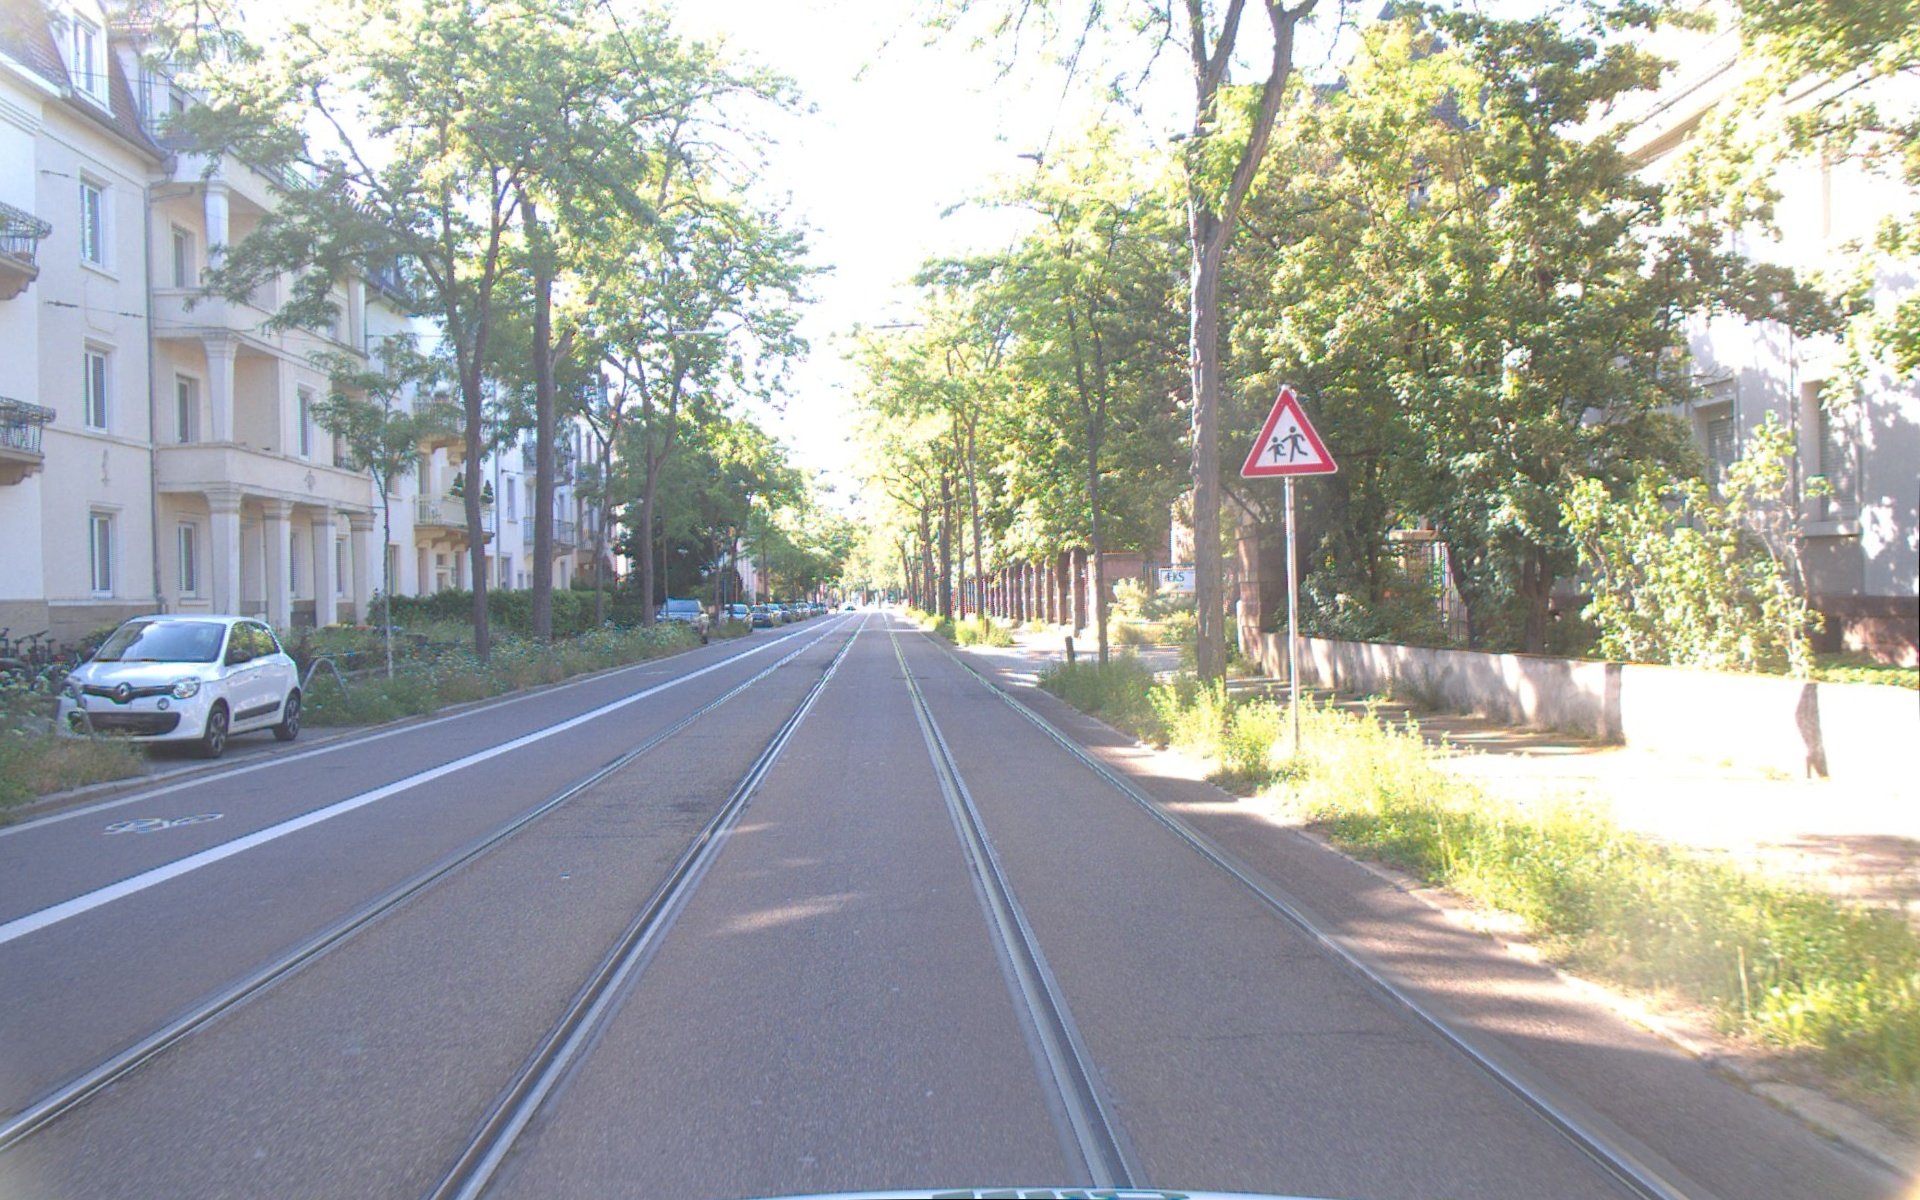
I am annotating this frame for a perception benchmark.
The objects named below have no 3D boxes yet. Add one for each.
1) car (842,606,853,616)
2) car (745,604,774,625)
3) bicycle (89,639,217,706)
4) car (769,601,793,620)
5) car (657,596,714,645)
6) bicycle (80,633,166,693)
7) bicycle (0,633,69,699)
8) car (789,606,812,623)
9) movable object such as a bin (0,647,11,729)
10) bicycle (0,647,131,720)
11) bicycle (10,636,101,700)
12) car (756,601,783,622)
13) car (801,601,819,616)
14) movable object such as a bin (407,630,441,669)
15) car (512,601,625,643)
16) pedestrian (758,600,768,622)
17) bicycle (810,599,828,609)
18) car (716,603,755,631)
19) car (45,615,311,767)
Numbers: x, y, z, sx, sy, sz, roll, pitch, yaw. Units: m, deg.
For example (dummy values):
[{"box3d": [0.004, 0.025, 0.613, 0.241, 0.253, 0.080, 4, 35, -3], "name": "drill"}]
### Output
[{"box3d": [-17.375, 1.740, 255.489, 1.723, 1.464, 4.520, -1, 0, -4], "name": "car"}, {"box3d": [-13.542, 0.971, 111.836, 1.672, 1.431, 4.330, 0, 0, -4], "name": "car"}, {"box3d": [-13.491, 1.201, 27.698, 0.548, 1.014, 1.850, -1, 0, 43], "name": "bicycle"}, {"box3d": [-14.466, 0.819, 133.759, 1.723, 1.537, 4.435, 0, 0, -4], "name": "car"}, {"box3d": [-10.971, 0.788, 66.356, 1.834, 1.855, 4.767, 0, 0, -5], "name": "car"}, {"box3d": [-15.446, 1.150, 30.513, 1.822, 1.014, 0.557, 1, 1, 32], "name": "bicycle"}, {"box3d": [-15.690, 1.100, 27.832, 1.827, 1.014, 0.556, 1, 1, 39], "name": "bicycle"}, {"box3d": [-14.138, 1.274, 146.824, 1.781, 1.511, 4.204, 0, 0, -3], "name": "car"}, {"box3d": [-12.846, 1.162, 21.315, 0.723, 1.059, 0.895, -2, 0, -3], "name": "movable object such as a bin"}, {"box3d": [-13.806, 1.266, 25.433, 1.838, 1.014, 0.552, -1, 0, -32], "name": "bicycle"}, {"box3d": [-15.742, 1.166, 28.777, 1.822, 1.014, 0.557, 1, 1, 32], "name": "bicycle"}, {"box3d": [-14.233, 0.875, 123.570, 1.781, 1.537, 4.367, 0, 0, -4], "name": "car"}, {"box3d": [-15.699, 0.919, 172.912, 1.668, 1.511, 4.076, 1, 0, -3], "name": "car"}, {"box3d": [-13.182, 1.222, 40.704, 0.615, 0.937, 0.739, 0, 0, -3], "name": "movable object such as a bin"}, {"box3d": [-16.164, 0.900, 68.402, 4.213, 1.690, 1.952, 0, 0, -2], "name": "car"}, {"box3d": [-16.345, 0.889, 137.351, 0.678, 1.833, 0.813, -2, 0, -3], "name": "pedestrian"}, {"box3d": [-17.919, 0.549, 209.989, 2.236, 1.219, 0.560, 1, 0, 4], "name": "bicycle"}, {"box3d": [-12.593, 0.933, 92.939, 1.741, 1.568, 4.483, 0, 0, -3], "name": "car"}, {"box3d": [-9.003, 0.979, 19.361, 1.593, 1.562, 3.686, 0, 0, -4], "name": "car"}]
